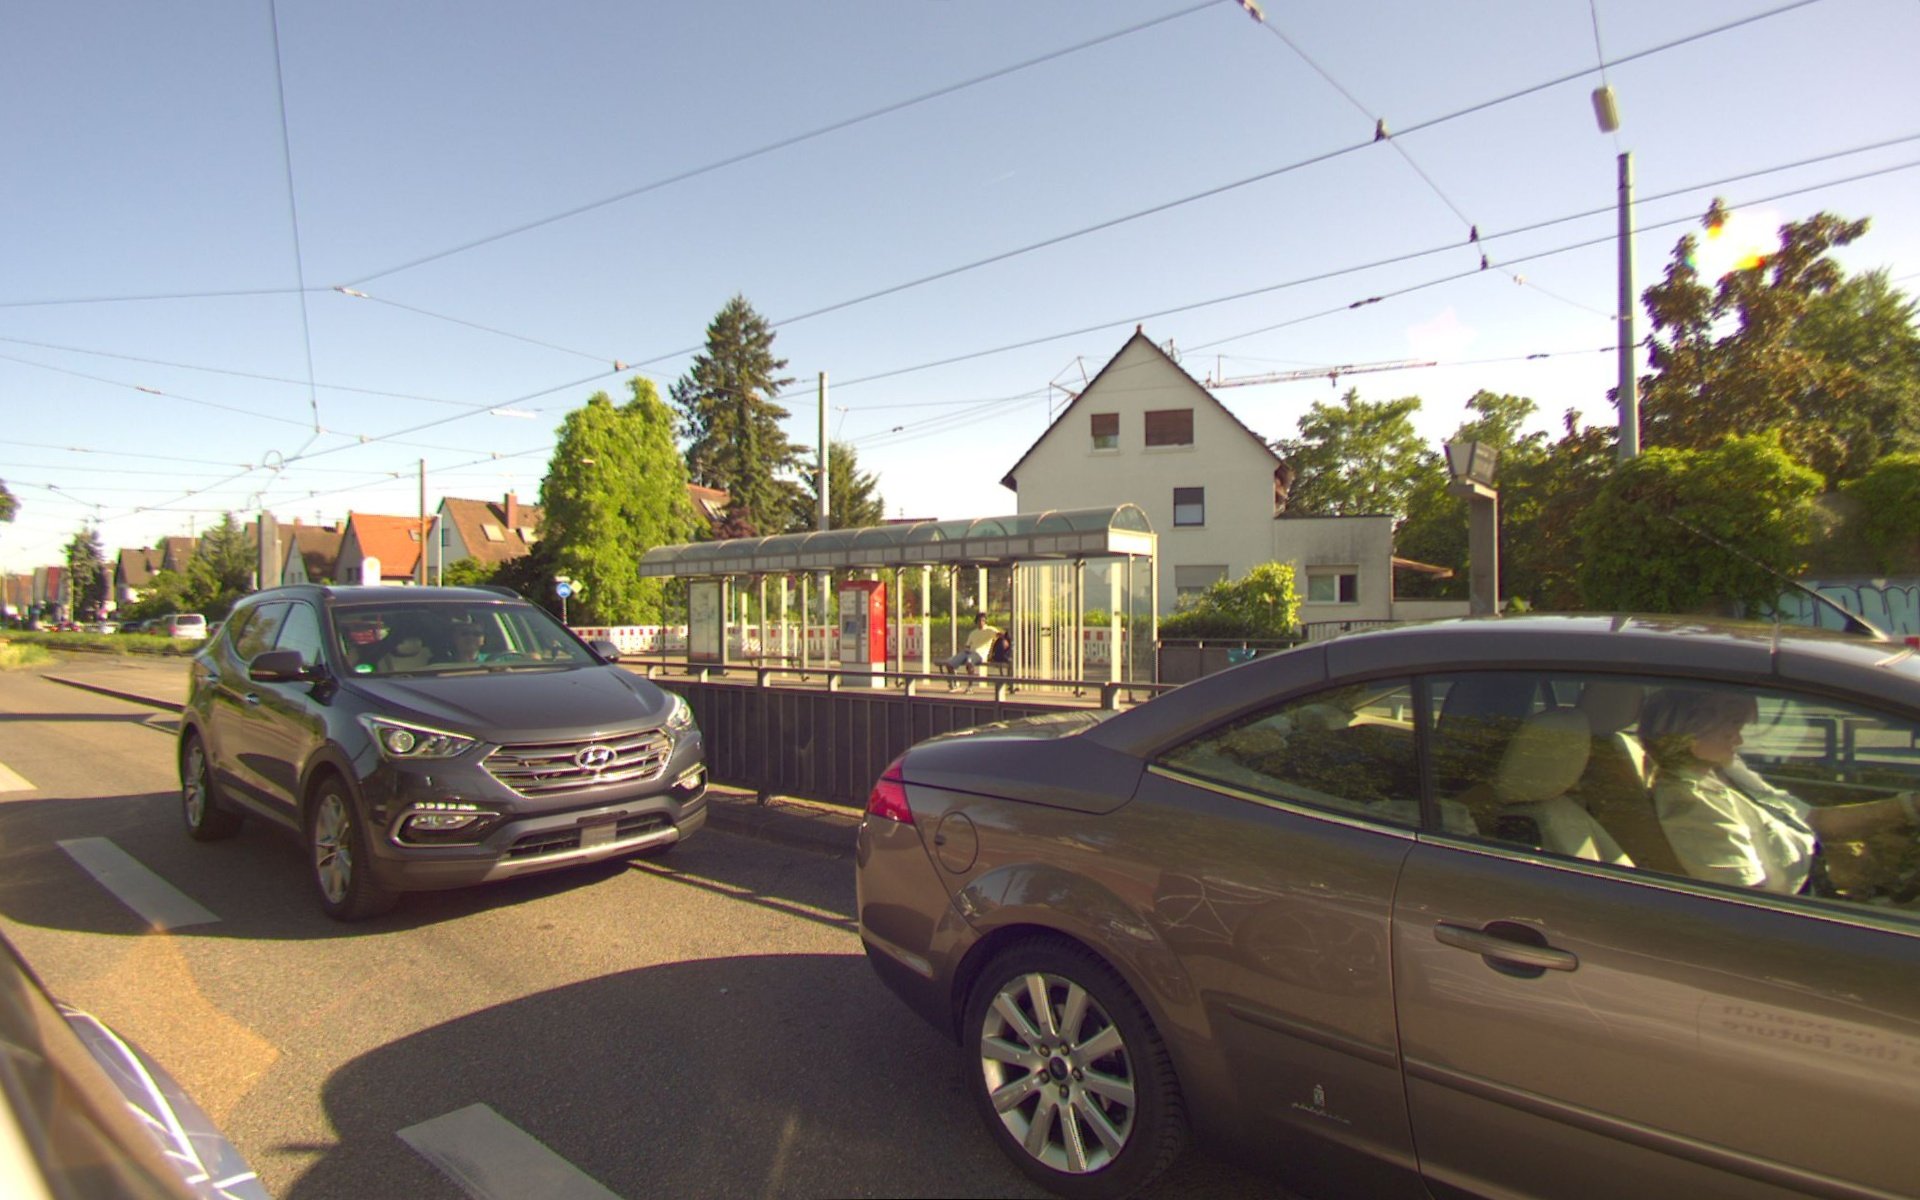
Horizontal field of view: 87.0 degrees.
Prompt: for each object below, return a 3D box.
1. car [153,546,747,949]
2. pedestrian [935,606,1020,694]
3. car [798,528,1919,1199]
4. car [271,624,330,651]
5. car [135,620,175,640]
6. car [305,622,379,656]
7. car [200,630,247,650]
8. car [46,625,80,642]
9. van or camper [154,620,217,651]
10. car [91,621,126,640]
[{"bbox_3d":[-3.341,0.659,6.218,4.285,1.642,1.757,-2,-2,41],"label":"car"},{"bbox_3d":[0.311,0.866,17.518,1.006,1.464,1.050,-1,-4,40],"label":"pedestrian"},{"bbox_3d":[1.722,0.646,2.280,4.331,1.461,1.757,-2,-2,41],"label":"car"},{"bbox_3d":[-40.485,2.270,62.095,4.438,1.477,1.887,-1,0,41],"label":"car"},{"bbox_3d":[-69.231,2.582,86.966,4.534,1.573,1.864,-2,0,41],"label":"car"},{"bbox_3d":[-27.353,1.697,44.748,4.014,1.413,1.588,-1,-2,41],"label":"car"},{"bbox_3d":[-54.273,2.944,74.564,4.308,1.382,1.972,-2,-1,42],"label":"car"},{"bbox_3d":[-81.294,3.045,91.687,4.341,1.532,1.717,-2,-2,41],"label":"car"},{"bbox_3d":[-48.231,2.179,62.988,5.984,1.842,1.973,-2,-2,41],"label":"van or camper"},{"bbox_3d":[-84.640,3.010,100.548,4.582,1.877,1.973,-2,-1,41],"label":"car"}]
